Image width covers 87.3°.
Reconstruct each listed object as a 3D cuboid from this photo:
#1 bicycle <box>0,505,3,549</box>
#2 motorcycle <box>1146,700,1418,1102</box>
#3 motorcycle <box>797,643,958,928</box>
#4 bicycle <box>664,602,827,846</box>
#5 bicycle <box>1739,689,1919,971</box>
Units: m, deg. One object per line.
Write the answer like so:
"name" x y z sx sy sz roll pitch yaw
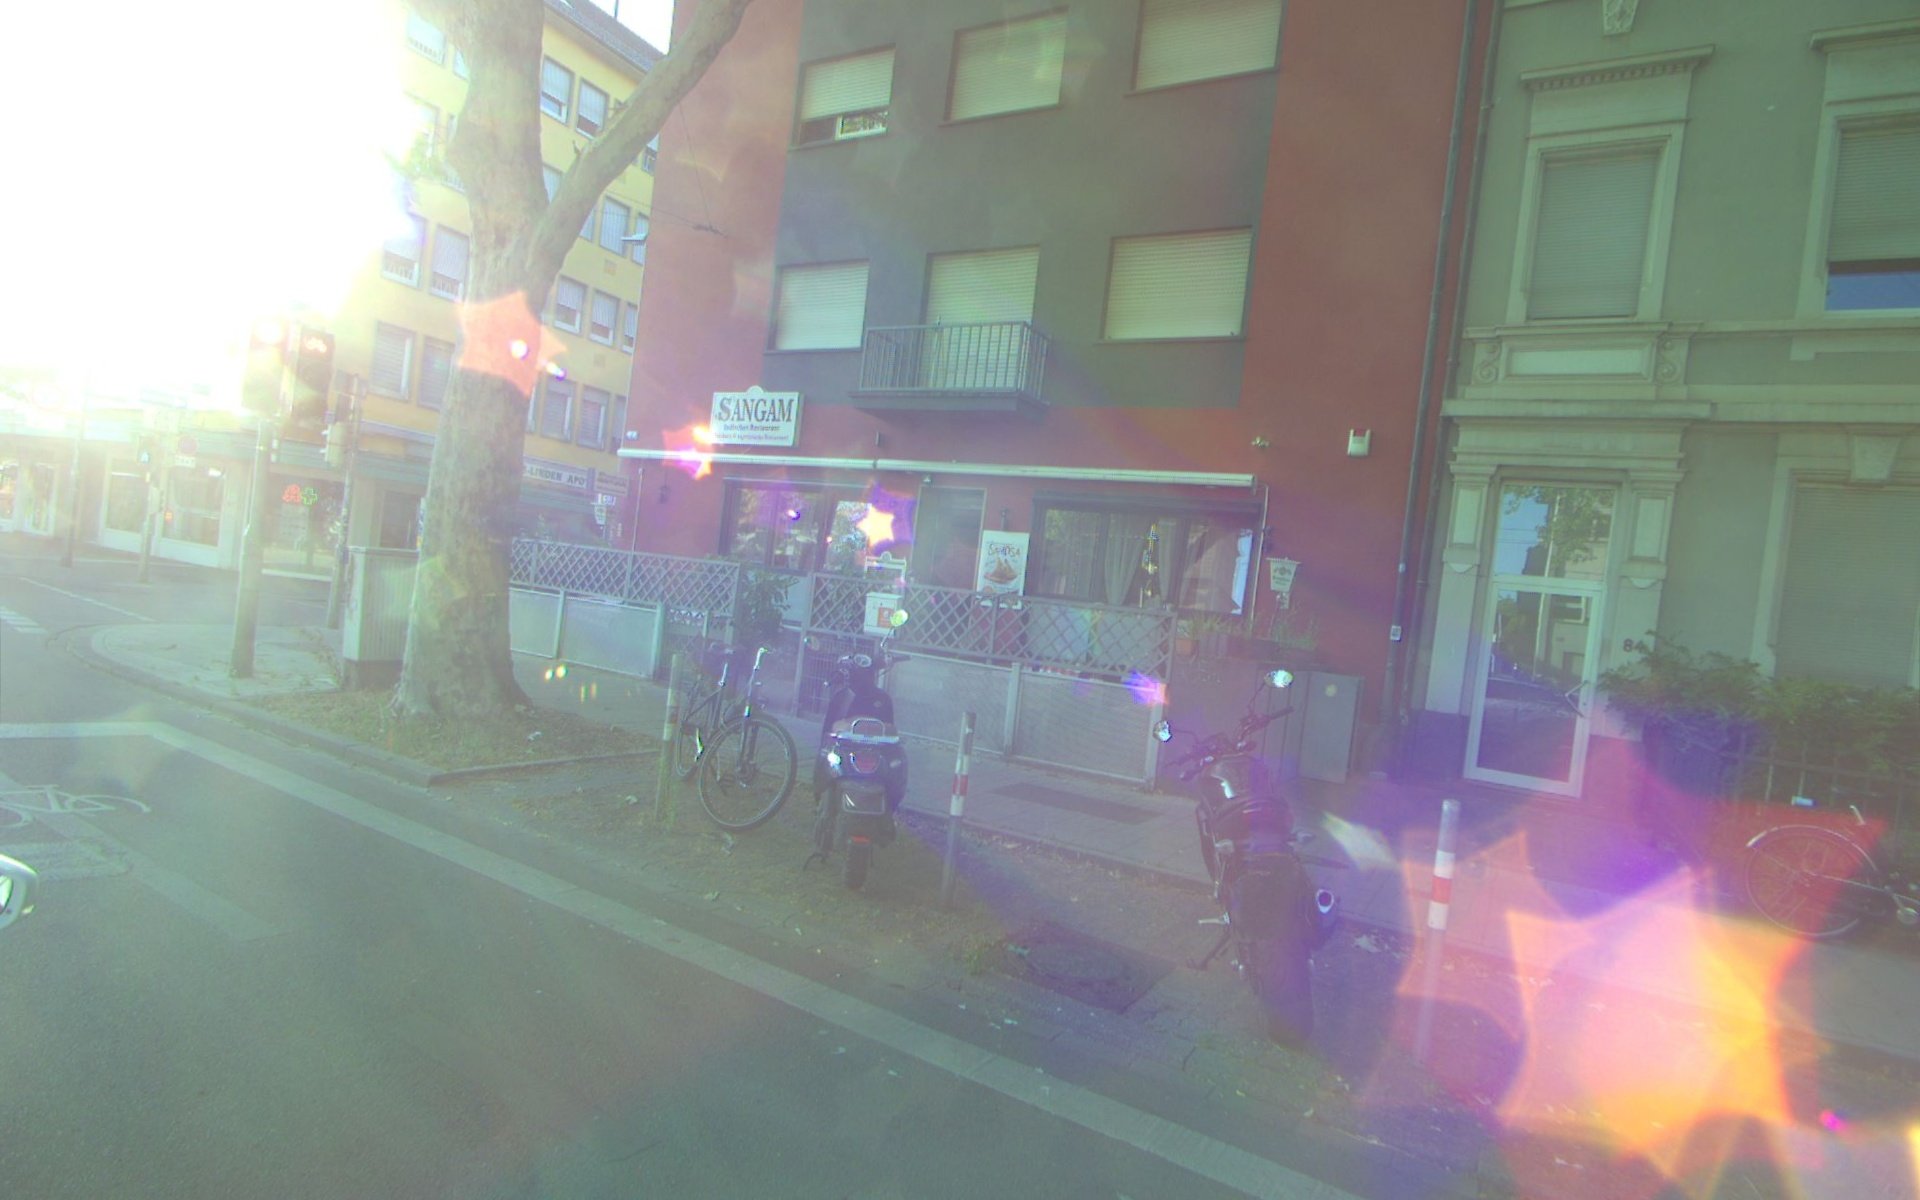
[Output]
"bicycle" -23.416 -1.790 23.214 0.683 1.034 1.774 7 1 31
"motorcycle" 1.321 1.157 4.621 0.752 1.077 2.212 7 2 9
"motorcycle" -0.538 0.915 5.655 0.591 1.166 1.994 6 0 -10
"bicycle" -1.487 0.737 6.681 0.686 1.219 1.837 8 2 -20
"bicycle" 5.868 1.384 5.506 2.356 1.443 0.608 7 -1 32
